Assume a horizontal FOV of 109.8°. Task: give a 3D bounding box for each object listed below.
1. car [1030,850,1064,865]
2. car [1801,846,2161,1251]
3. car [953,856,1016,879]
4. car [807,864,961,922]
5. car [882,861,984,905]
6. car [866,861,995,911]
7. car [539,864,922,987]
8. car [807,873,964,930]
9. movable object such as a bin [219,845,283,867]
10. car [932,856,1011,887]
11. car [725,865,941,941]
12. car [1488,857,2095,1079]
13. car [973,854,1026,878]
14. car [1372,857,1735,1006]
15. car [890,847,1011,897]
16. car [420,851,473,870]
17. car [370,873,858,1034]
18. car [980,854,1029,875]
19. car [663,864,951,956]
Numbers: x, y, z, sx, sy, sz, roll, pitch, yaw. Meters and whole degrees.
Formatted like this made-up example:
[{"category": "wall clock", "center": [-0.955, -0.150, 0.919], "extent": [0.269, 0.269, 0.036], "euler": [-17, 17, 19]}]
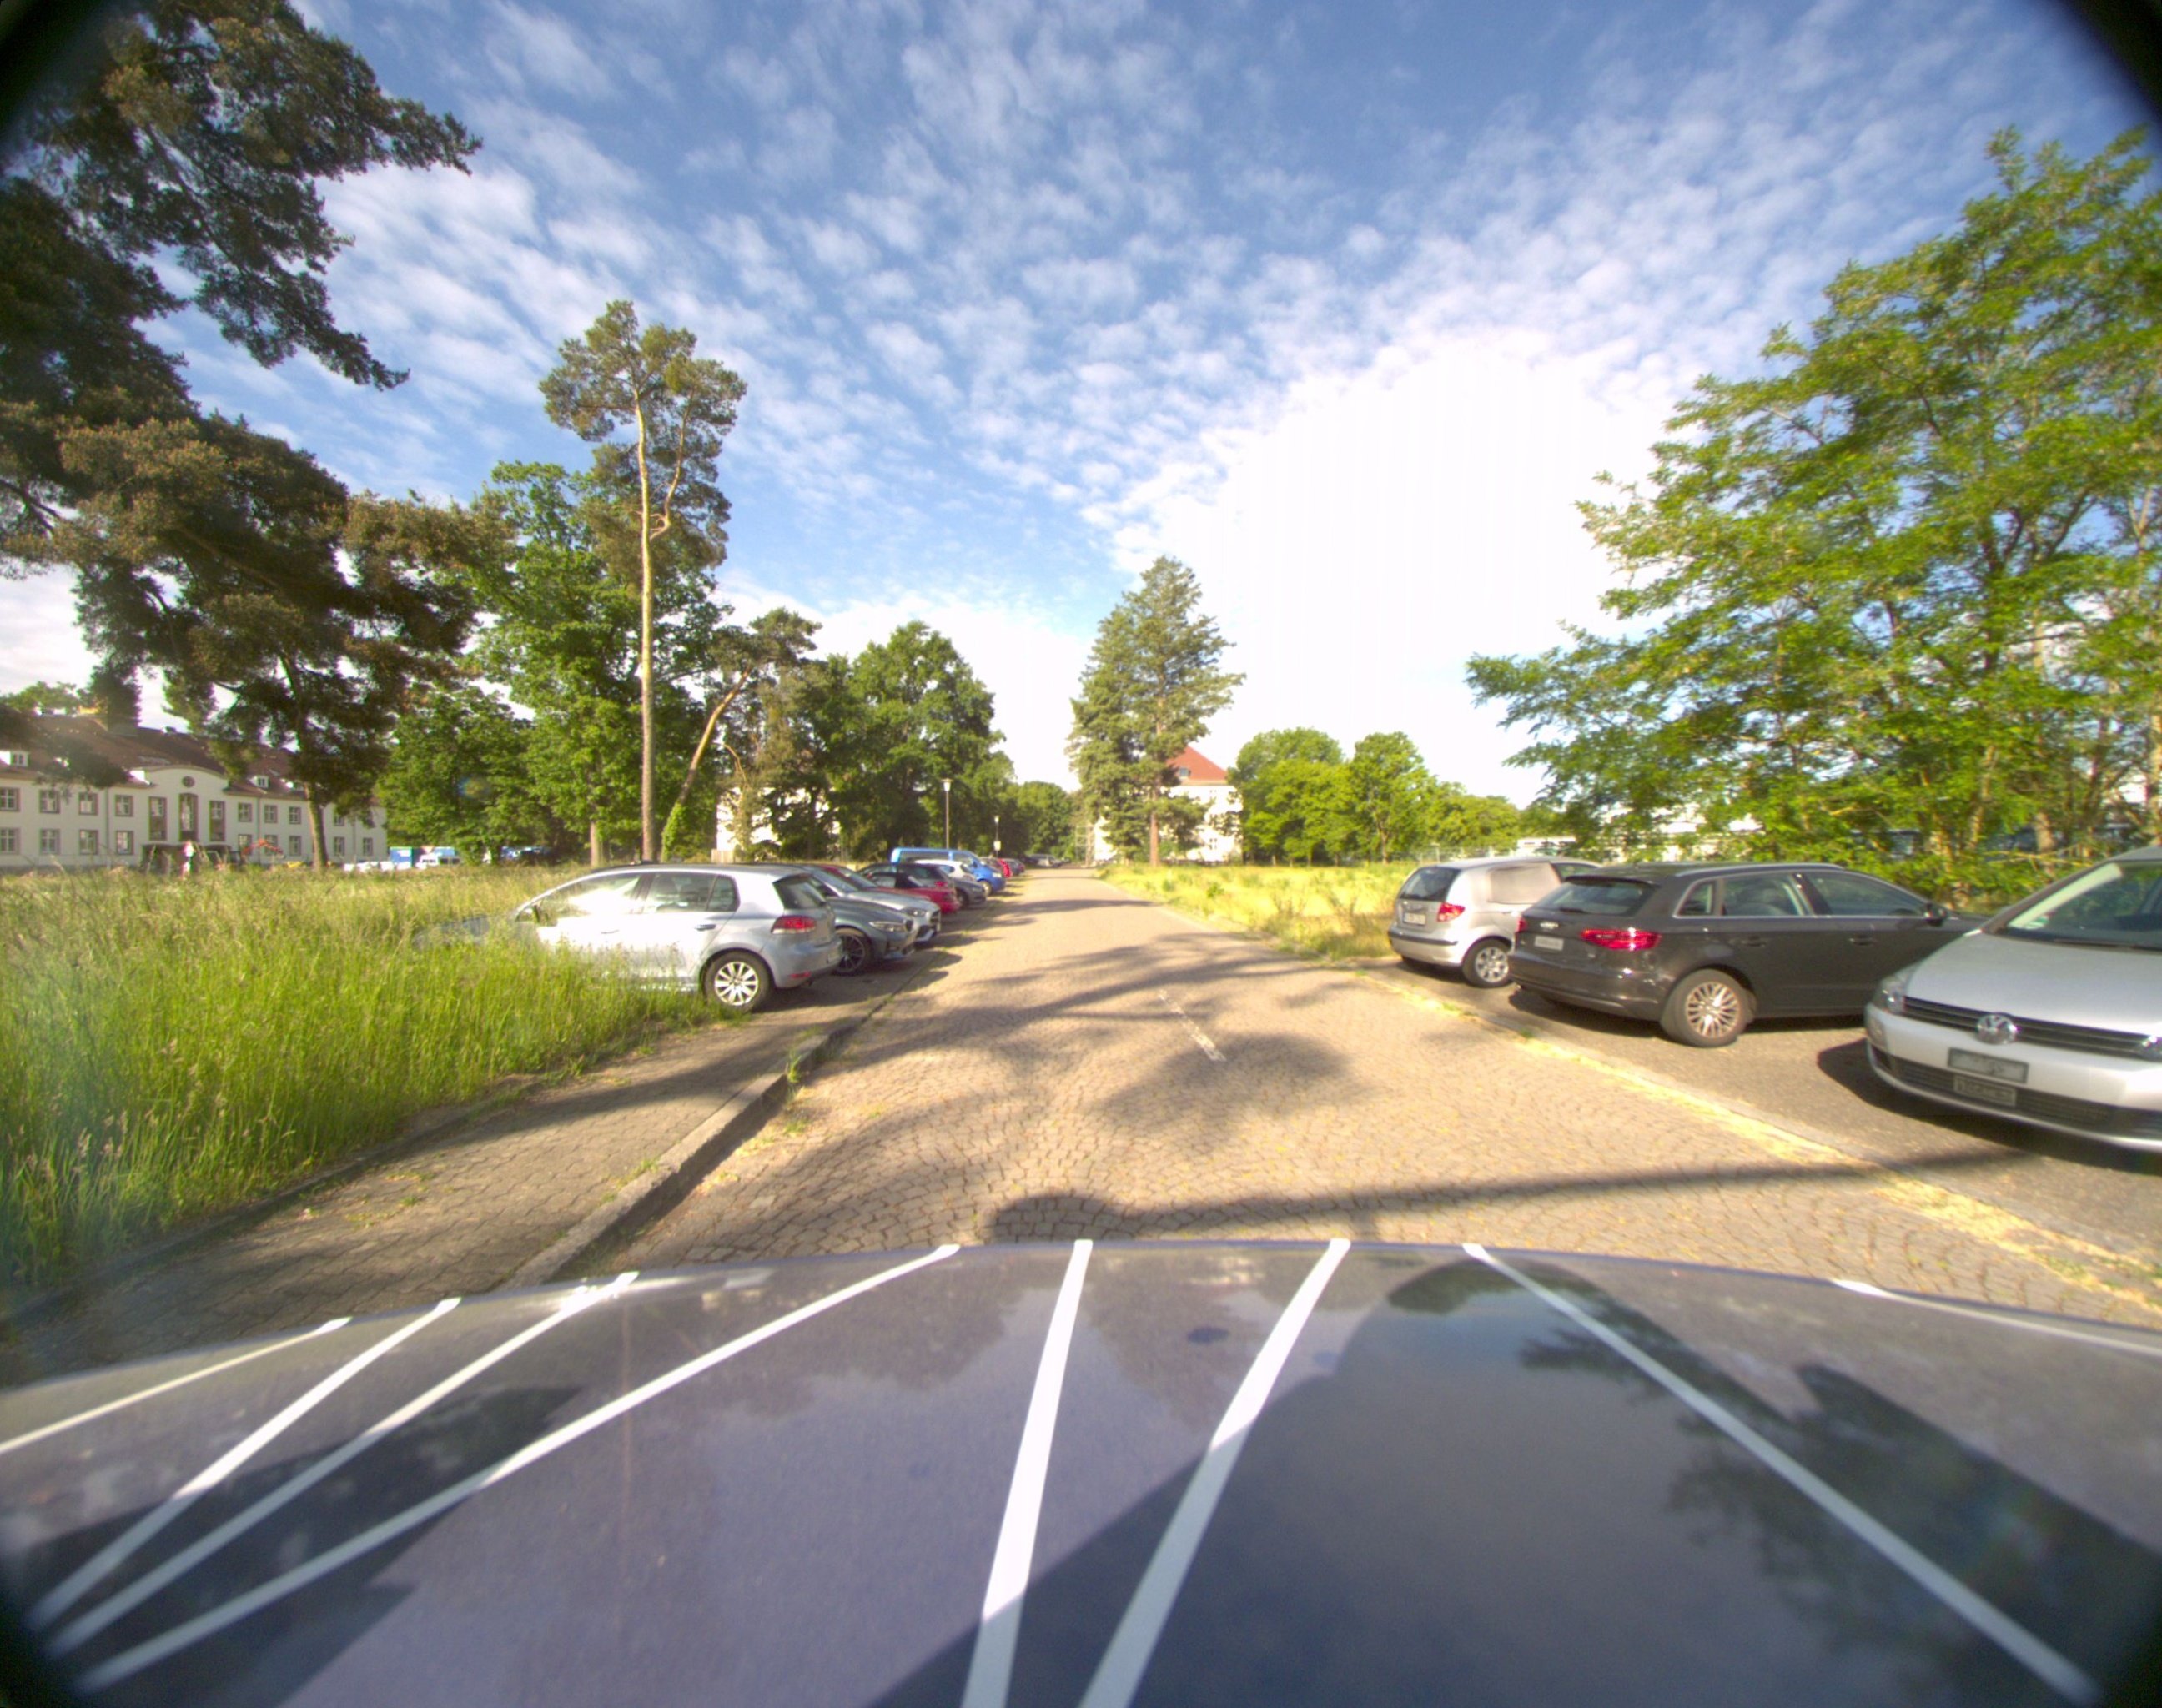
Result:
[{"category": "car", "center": [-5.084, 0.518, 114.815], "extent": [5.069, 2.251, 1.999], "euler": [0, 1, -2]}, {"category": "car", "center": [6.467, 0.789, 4.006], "extent": [3.956, 1.616, 1.721], "euler": [-3, 1, -7]}, {"category": "car", "center": [-6.432, 0.914, 51.096], "extent": [3.997, 1.509, 1.756], "euler": [0, 0, 1]}, {"category": "car", "center": [-5.241, 1.024, 20.587], "extent": [3.780, 1.482, 1.549], "euler": [0, 0, -3]}, {"category": "car", "center": [-5.111, 0.986, 26.451], "extent": [3.265, 1.482, 1.449], "euler": [0, 1, 0]}, {"category": "car", "center": [-4.641, 0.965, 23.613], "extent": [3.621, 1.482, 1.508], "euler": [0, 0, 8]}, {"category": "car", "center": [-4.631, 0.947, 10.660], "extent": [4.508, 1.508, 1.825], "euler": [1, 0, -5]}, {"category": "car", "center": [-4.543, 1.093, 17.986], "extent": [3.357, 1.248, 1.419], "euler": [0, 0, -3]}, {"category": "movable object such as a bin", "center": [-93.491, 0.218, 85.649], "extent": [1.999, 2.309, 4.984], "euler": [0, 0, -5]}, {"category": "car", "center": [-5.830, 0.917, 40.754], "extent": [3.997, 1.630, 1.756], "euler": [0, 0, 1]}, {"category": "car", "center": [-4.987, 0.979, 15.689], "extent": [3.918, 1.385, 1.660], "euler": [1, 0, -3]}, {"category": "car", "center": [5.936, 0.860, 6.658], "extent": [3.807, 1.462, 1.687], "euler": [-3, 1, -3]}, {"category": "car", "center": [-6.519, 0.954, 61.287], "extent": [3.997, 1.731, 1.757], "euler": [-2, 0, 1]}, {"category": "car", "center": [5.674, 0.862, 9.378], "extent": [3.475, 1.462, 1.635], "euler": [-3, 1, -5]}, {"category": "car", "center": [-5.398, 0.717, 31.828], "extent": [4.727, 2.002, 2.000], "euler": [0, 0, -1]}, {"category": "car", "center": [-71.396, 0.697, 85.630], "extent": [1.999, 2.002, 4.772], "euler": [0, 0, -1]}, {"category": "car", "center": [-4.656, 0.969, 8.116], "extent": [4.027, 1.452, 1.870], "euler": [1, 0, -3]}, {"category": "car", "center": [-6.590, 0.889, 65.766], "extent": [3.996, 1.605, 1.756], "euler": [-3, 1, 2]}, {"category": "car", "center": [-4.650, 0.947, 13.448], "extent": [4.424, 1.394, 1.825], "euler": [1, 0, -3]}]
